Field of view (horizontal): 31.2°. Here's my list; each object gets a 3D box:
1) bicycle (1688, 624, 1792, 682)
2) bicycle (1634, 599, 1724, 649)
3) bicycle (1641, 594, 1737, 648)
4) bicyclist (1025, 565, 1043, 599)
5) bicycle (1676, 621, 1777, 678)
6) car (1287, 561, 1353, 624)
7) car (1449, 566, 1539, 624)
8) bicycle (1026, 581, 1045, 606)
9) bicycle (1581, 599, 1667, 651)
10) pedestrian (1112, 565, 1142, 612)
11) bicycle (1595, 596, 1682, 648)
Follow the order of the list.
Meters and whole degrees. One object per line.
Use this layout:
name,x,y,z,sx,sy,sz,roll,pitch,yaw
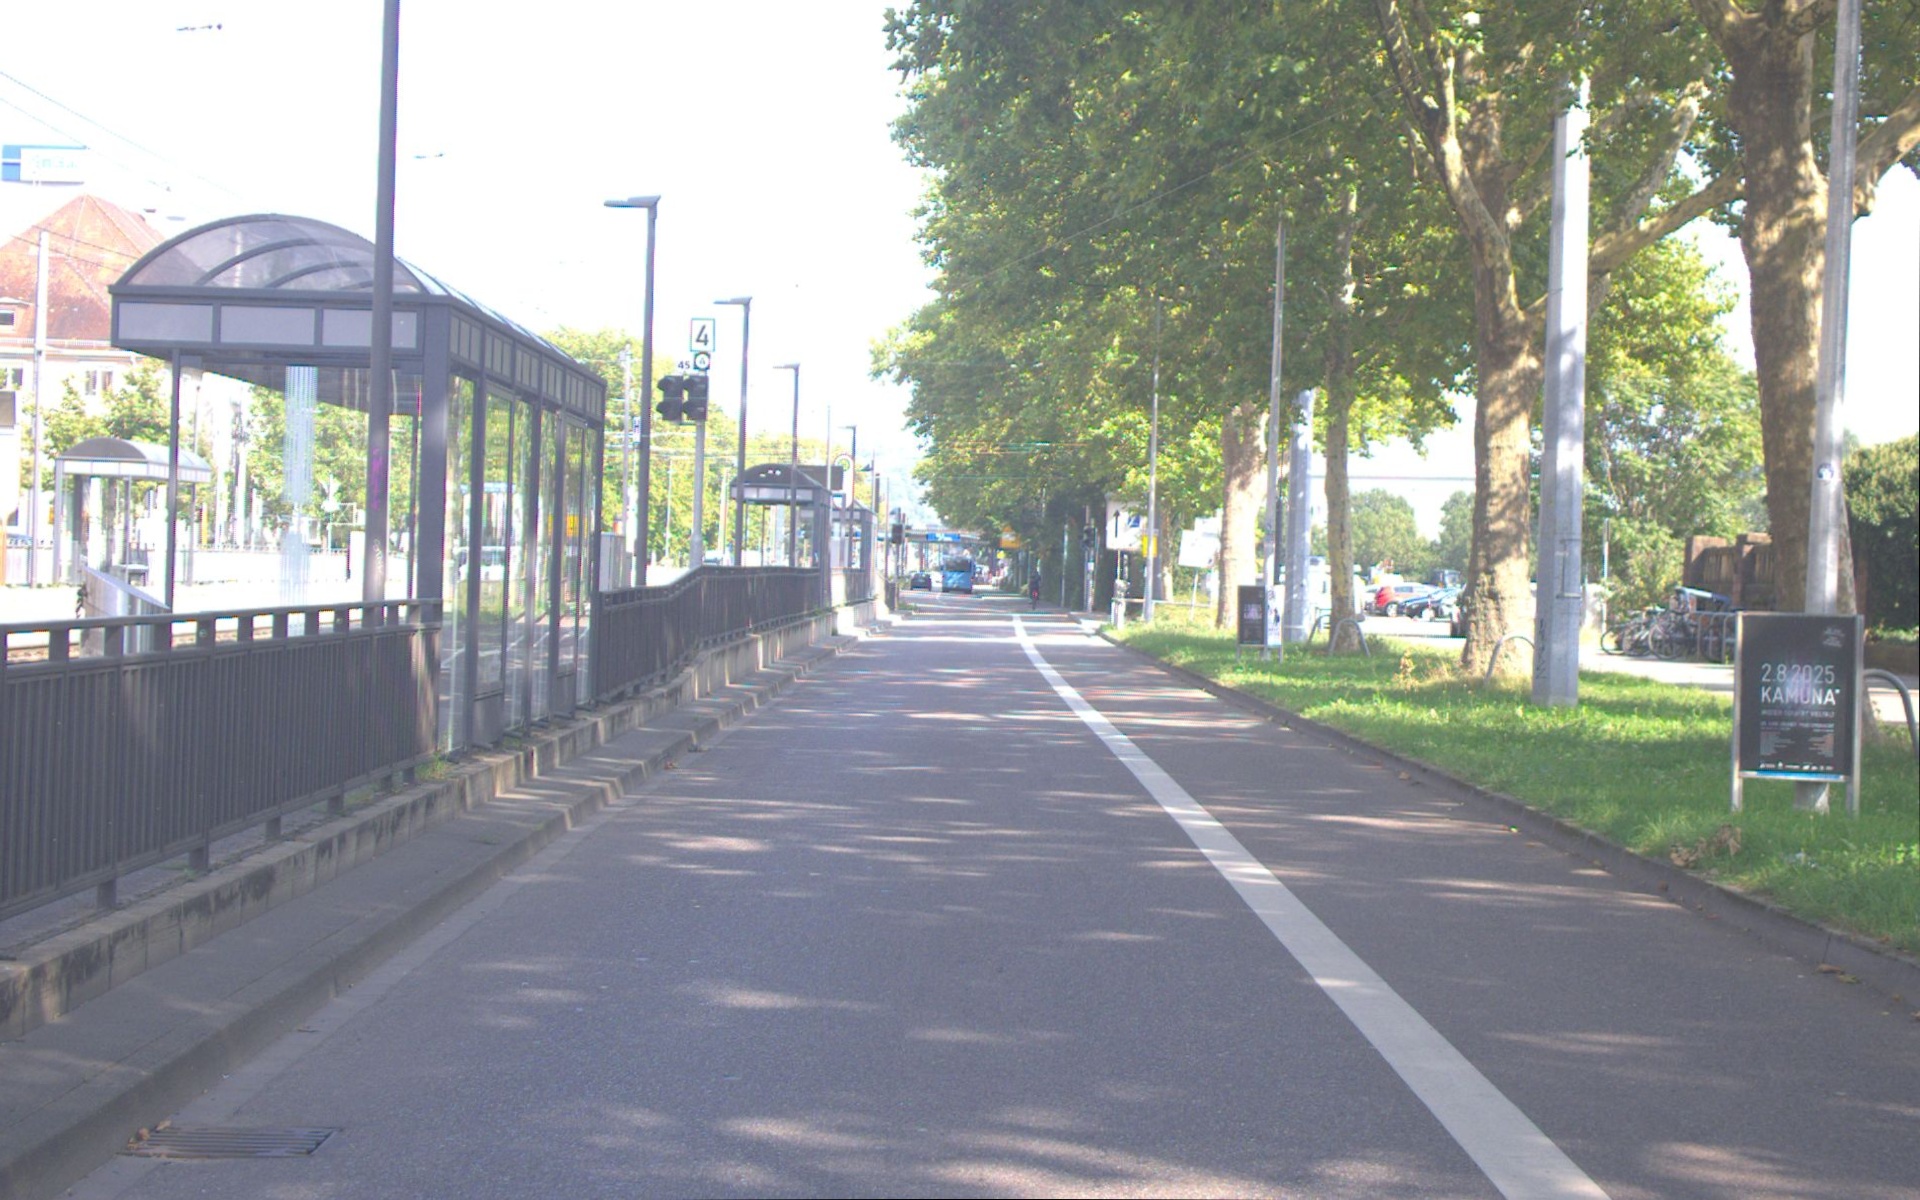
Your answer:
bicycle,13.260,0.894,58.434,1.656,0.966,0.506,0,0,2
bicycle,13.996,0.460,66.905,1.656,0.966,0.506,0,0,3
bicycle,13.269,0.381,62.616,1.656,0.966,0.506,0,0,6
bicyclist,3.310,-0.813,153.040,0.705,1.456,1.009,3,0,0
bicycle,13.257,0.858,59.508,1.656,0.966,0.506,0,0,6
car,12.195,-0.263,116.700,1.722,2.041,4.461,2,1,0
car,16.140,-0.138,103.702,1.724,1.673,4.244,2,1,22
bicycle,3.360,-0.290,153.141,0.715,1.104,2.509,3,0,0
bicycle,12.730,0.471,65.980,0.505,0.966,1.661,0,1,-41
pedestrian,5.805,-0.404,119.779,0.626,1.612,0.843,2,1,38
bicycle,12.829,0.409,65.057,0.505,0.966,1.661,0,1,-41
